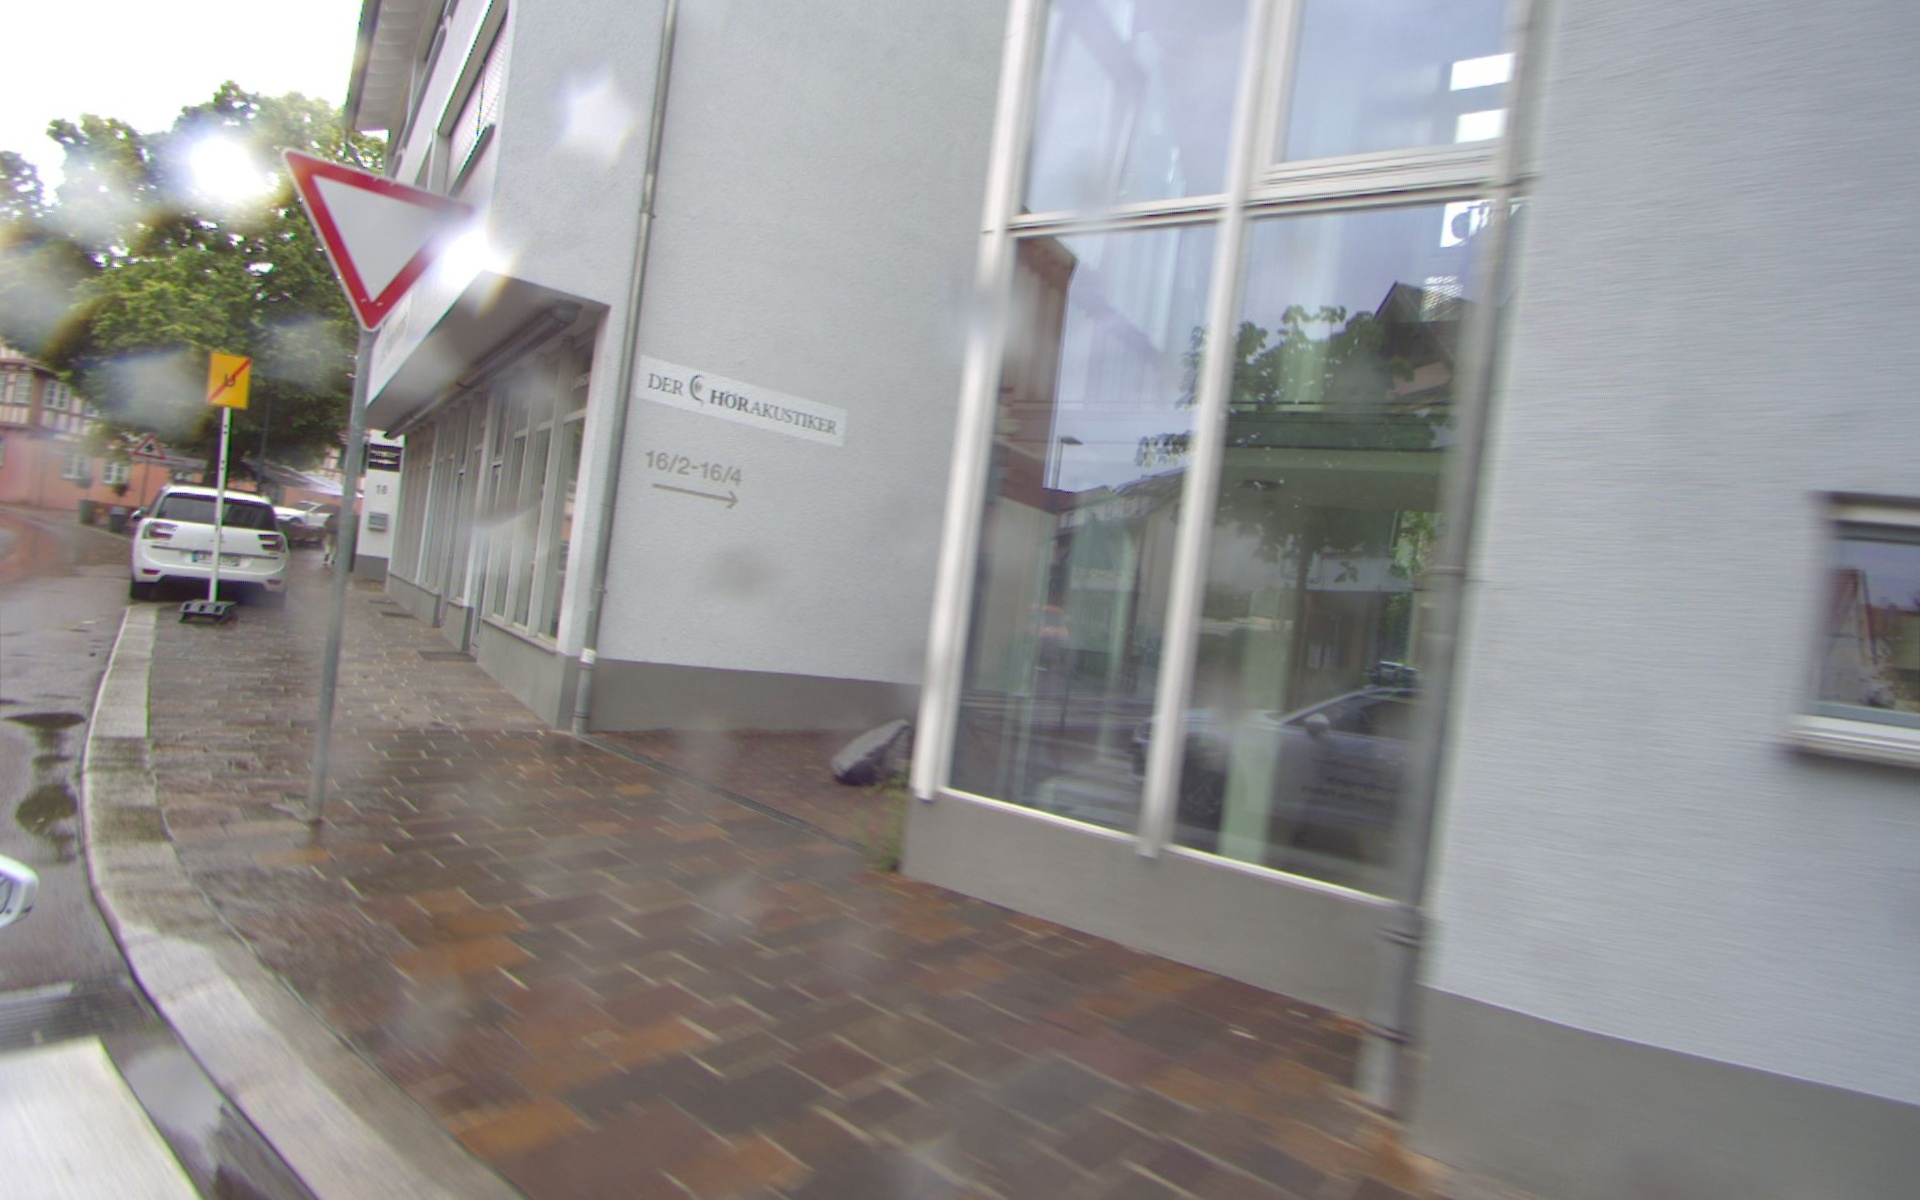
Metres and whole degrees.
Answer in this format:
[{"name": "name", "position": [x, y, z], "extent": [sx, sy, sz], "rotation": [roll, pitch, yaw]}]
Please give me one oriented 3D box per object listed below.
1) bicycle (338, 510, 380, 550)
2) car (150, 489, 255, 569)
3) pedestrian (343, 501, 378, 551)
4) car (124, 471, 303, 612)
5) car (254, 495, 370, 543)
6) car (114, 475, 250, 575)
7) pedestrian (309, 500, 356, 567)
[{"name": "bicycle", "position": [-22.578, -2.617, 37.845], "extent": [0.915, 1.368, 2.204], "rotation": [6, 1, -22]}, {"name": "car", "position": [-18.335, -1.741, 24.383], "extent": [1.778, 1.575, 3.908], "rotation": [7, 0, -37]}, {"name": "pedestrian", "position": [-22.591, -2.767, 37.912], "extent": [0.901, 1.720, 0.857], "rotation": [5, 1, -23]}, {"name": "car", "position": [-11.548, -0.880, 15.433], "extent": [1.781, 1.658, 4.390], "rotation": [8, -2, -40]}, {"name": "car", "position": [-32.829, -4.073, 51.115], "extent": [1.963, 1.653, 4.615], "rotation": [10, 1, 18]}, {"name": "car", "position": [-14.979, -1.395, 19.379], "extent": [1.780, 1.485, 3.908], "rotation": [8, -2, -39]}, {"name": "pedestrian", "position": [-17.776, -1.873, 28.513], "extent": [0.877, 1.733, 0.884], "rotation": [7, -1, -26]}]
